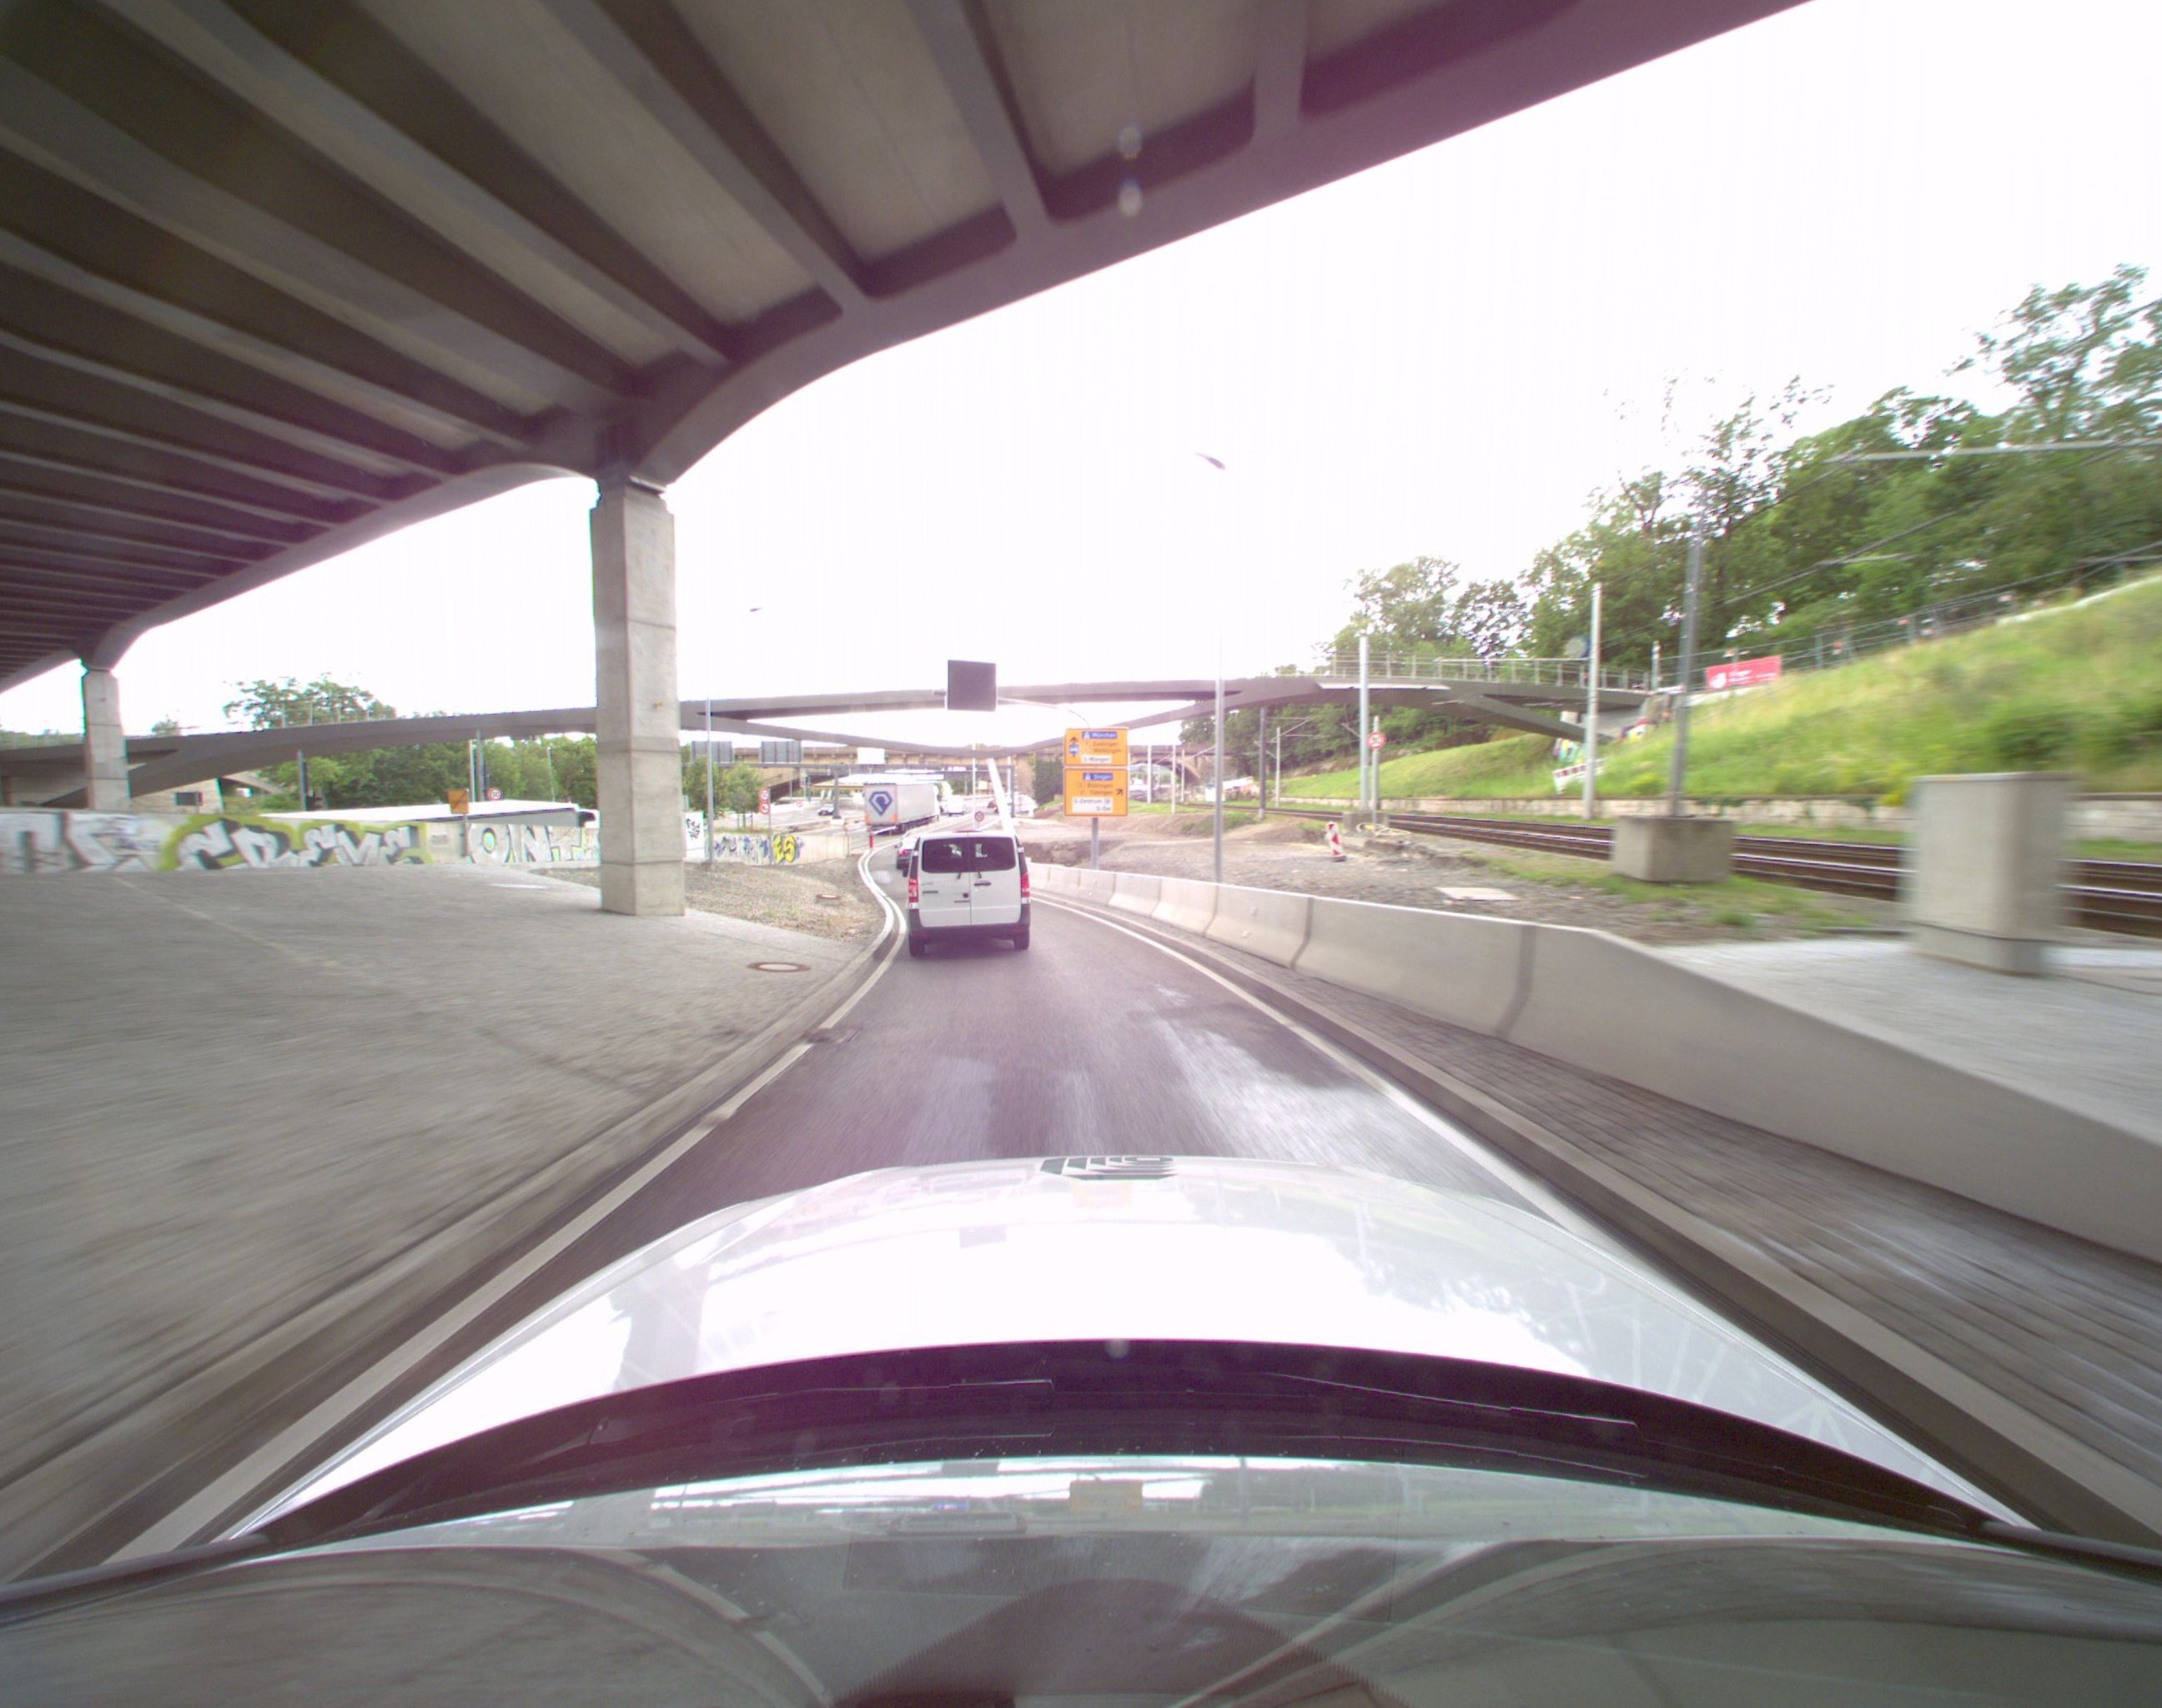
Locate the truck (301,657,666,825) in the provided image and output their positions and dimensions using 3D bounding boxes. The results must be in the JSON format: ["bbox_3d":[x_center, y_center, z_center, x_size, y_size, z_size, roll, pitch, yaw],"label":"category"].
[{"bbox_3d":[-18.434,-3.148,26.790,2.974,4.175,11.256,1,1,5],"label":"truck"}]

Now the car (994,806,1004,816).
[{"bbox_3d":[-15.133,-7.915,150.074,1.619,1.584,3.998,1,2,-2],"label":"car"}]

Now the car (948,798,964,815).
[{"bbox_3d":[-16.622,-6.315,108.160,1.895,2.115,4.477,1,2,-6],"label":"car"}]

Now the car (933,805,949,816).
[{"bbox_3d":[-20.344,-6.305,118.589,1.639,1.620,4.002,1,2,1],"label":"car"}]

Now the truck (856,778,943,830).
[{"bbox_3d":[-15.153,-4.435,69.859,3.305,3.807,16.606,2,4,1],"label":"truck"}]

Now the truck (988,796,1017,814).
[{"bbox_3d":[-15.933,-10.046,166.053,3.370,3.148,7.284,3,1,14],"label":"truck"}]

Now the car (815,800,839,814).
[{"bbox_3d":[-32.683,-6.063,105.009,1.700,1.624,4.002,-1,2,1],"label":"car"}]

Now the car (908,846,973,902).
[{"bbox_3d":[-4.719,0.597,26.936,1.753,1.625,3.825,0,2,-16],"label":"car"}]

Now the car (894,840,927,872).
[{"bbox_3d":[-8.547,0.072,41.005,1.501,1.468,3.387,0,2,-10],"label":"car"}]

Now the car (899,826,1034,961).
[{"bbox_3d":[-1.997,0.556,14.088,1.876,1.891,4.738,-2,0,-9],"label":"car"}]
